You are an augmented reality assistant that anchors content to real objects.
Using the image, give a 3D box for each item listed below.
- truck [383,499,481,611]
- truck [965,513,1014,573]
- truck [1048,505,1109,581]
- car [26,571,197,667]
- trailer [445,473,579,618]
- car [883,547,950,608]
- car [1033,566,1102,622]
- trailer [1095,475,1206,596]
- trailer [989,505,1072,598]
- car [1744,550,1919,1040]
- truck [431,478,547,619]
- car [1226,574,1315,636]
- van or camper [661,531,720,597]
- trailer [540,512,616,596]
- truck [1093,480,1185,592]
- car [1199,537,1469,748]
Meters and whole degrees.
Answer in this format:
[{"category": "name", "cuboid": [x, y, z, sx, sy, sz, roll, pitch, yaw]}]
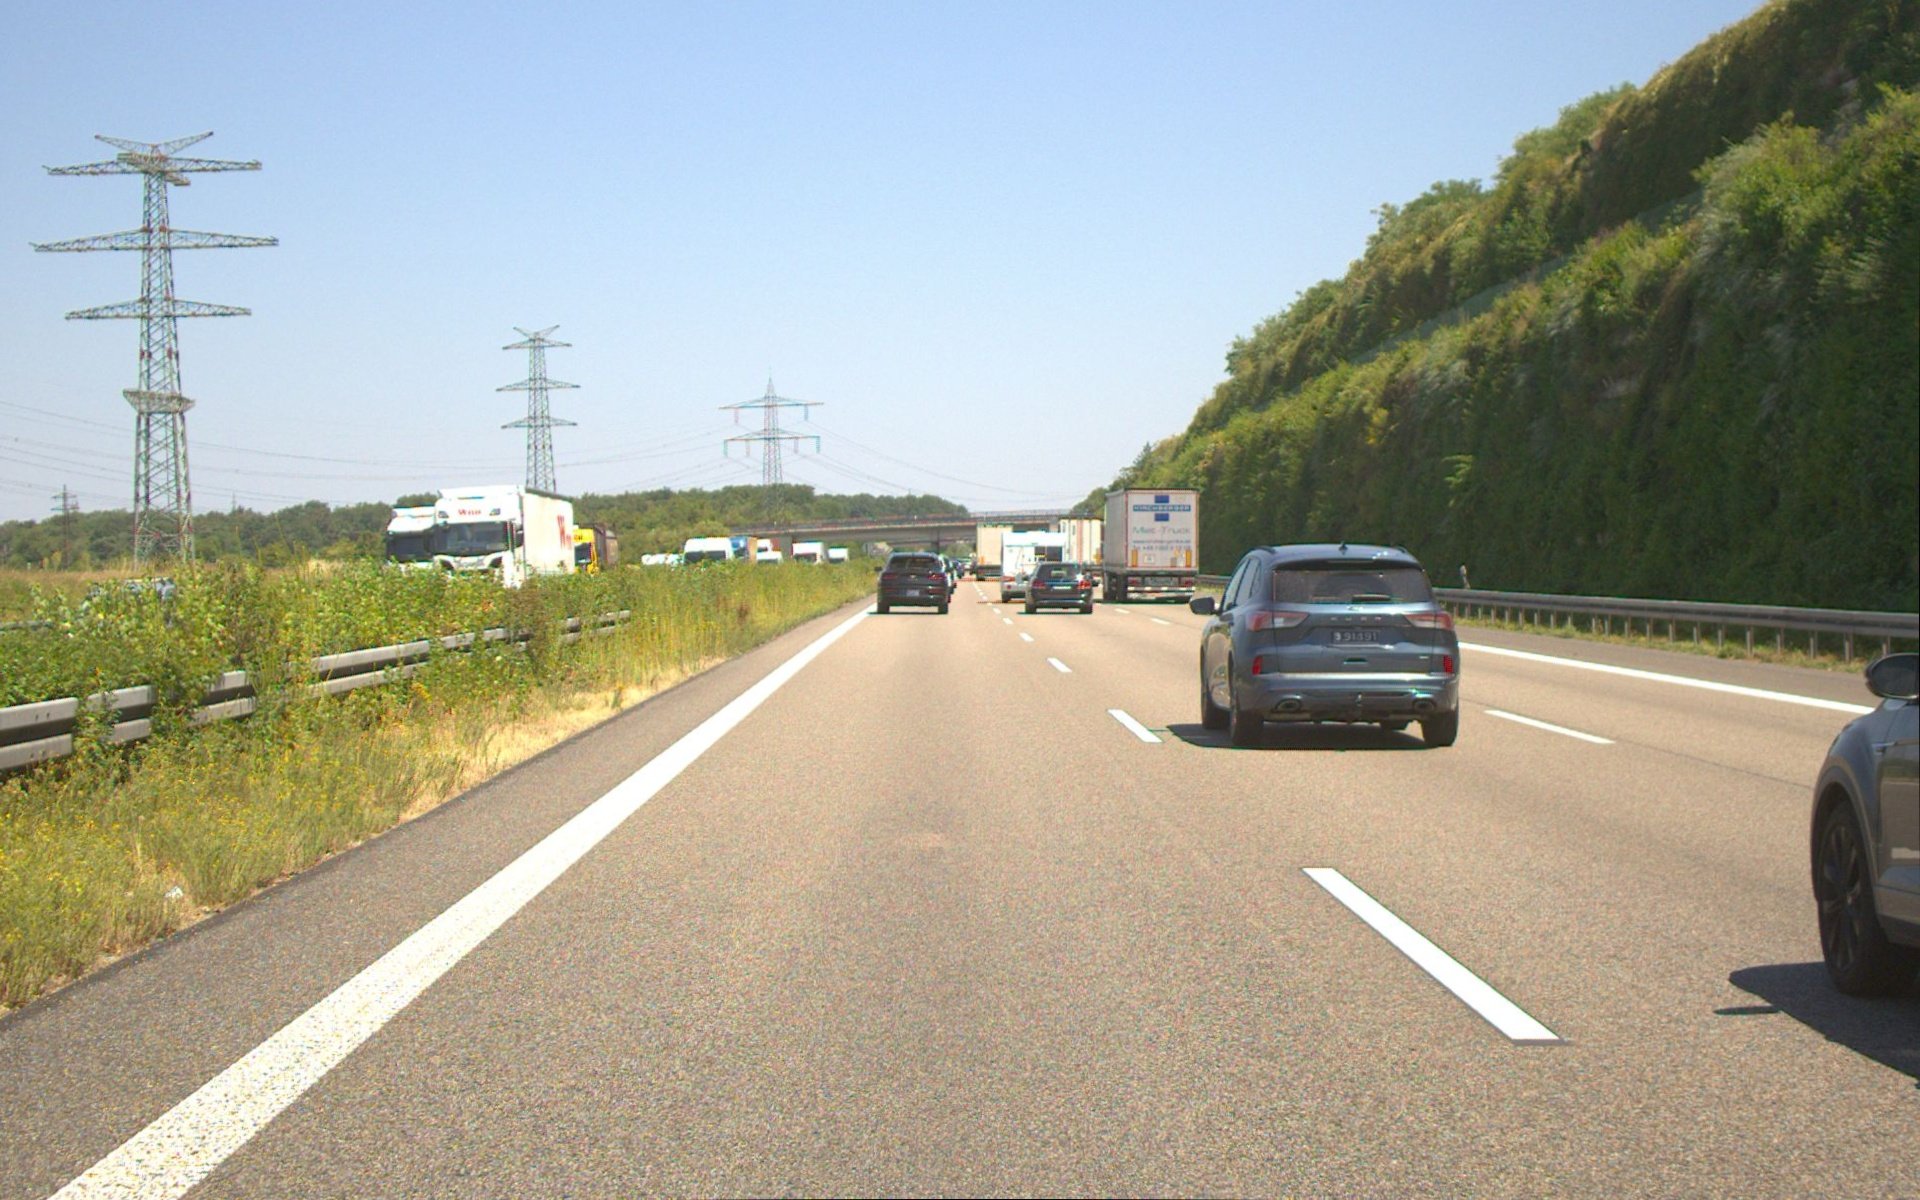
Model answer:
[{"category": "truck", "cuboid": [-18.470, -1.586, 120.590, 2.775, 3.840, 5.571, 0, 1, -2]}, {"category": "truck", "cuboid": [2.154, -4.178, 254.032, 3.409, 4.265, 10.607, -1, 1, 0]}, {"category": "truck", "cuboid": [6.920, -3.334, 202.195, 3.119, 4.265, 11.934, -1, 1, 0]}, {"category": "car", "cuboid": [-13.954, 0.283, 56.742, 1.812, 1.475, 4.000, -1, 1, 0]}, {"category": "trailer", "cuboid": [-14.373, -1.734, 111.436, 2.769, 4.335, 14.241, -1, 1, -2]}, {"category": "car", "cuboid": [-1.223, -0.643, 97.203, 1.830, 1.665, 4.000, -1, 1, -1]}, {"category": "car", "cuboid": [3.044, -0.191, 98.049, 1.830, 1.520, 4.000, -1, 1, 0]}, {"category": "trailer", "cuboid": [6.856, -2.337, 125.681, 3.183, 4.107, 13.432, -1, 1, 0]}, {"category": "trailer", "cuboid": [2.511, -1.773, 125.222, 2.610, 3.202, 9.953, -1, 1, -1]}, {"category": "car", "cuboid": [3.840, 0.594, 10.862, 1.749, 1.520, 3.995, -1, 1, -1]}, {"category": "truck", "cuboid": [-14.244, -1.561, 104.341, 2.805, 4.144, 5.570, 0, 1, -1]}, {"category": "car", "cuboid": [7.501, 0.098, 83.496, 1.684, 1.423, 4.454, 0, 1, -1]}, {"category": "van or camper", "cuboid": [-10.783, -1.445, 137.955, 1.993, 2.573, 6.286, 0, 1, -1]}, {"category": "trailer", "cuboid": [-19.105, -2.318, 172.480, 2.736, 4.032, 9.424, -1, 1, 0]}, {"category": "truck", "cuboid": [6.870, -2.453, 132.480, 3.136, 4.127, 5.504, -1, 1, 0]}, {"category": "car", "cuboid": [3.075, 0.305, 29.019, 1.794, 1.647, 4.138, 0, 1, 0]}]
